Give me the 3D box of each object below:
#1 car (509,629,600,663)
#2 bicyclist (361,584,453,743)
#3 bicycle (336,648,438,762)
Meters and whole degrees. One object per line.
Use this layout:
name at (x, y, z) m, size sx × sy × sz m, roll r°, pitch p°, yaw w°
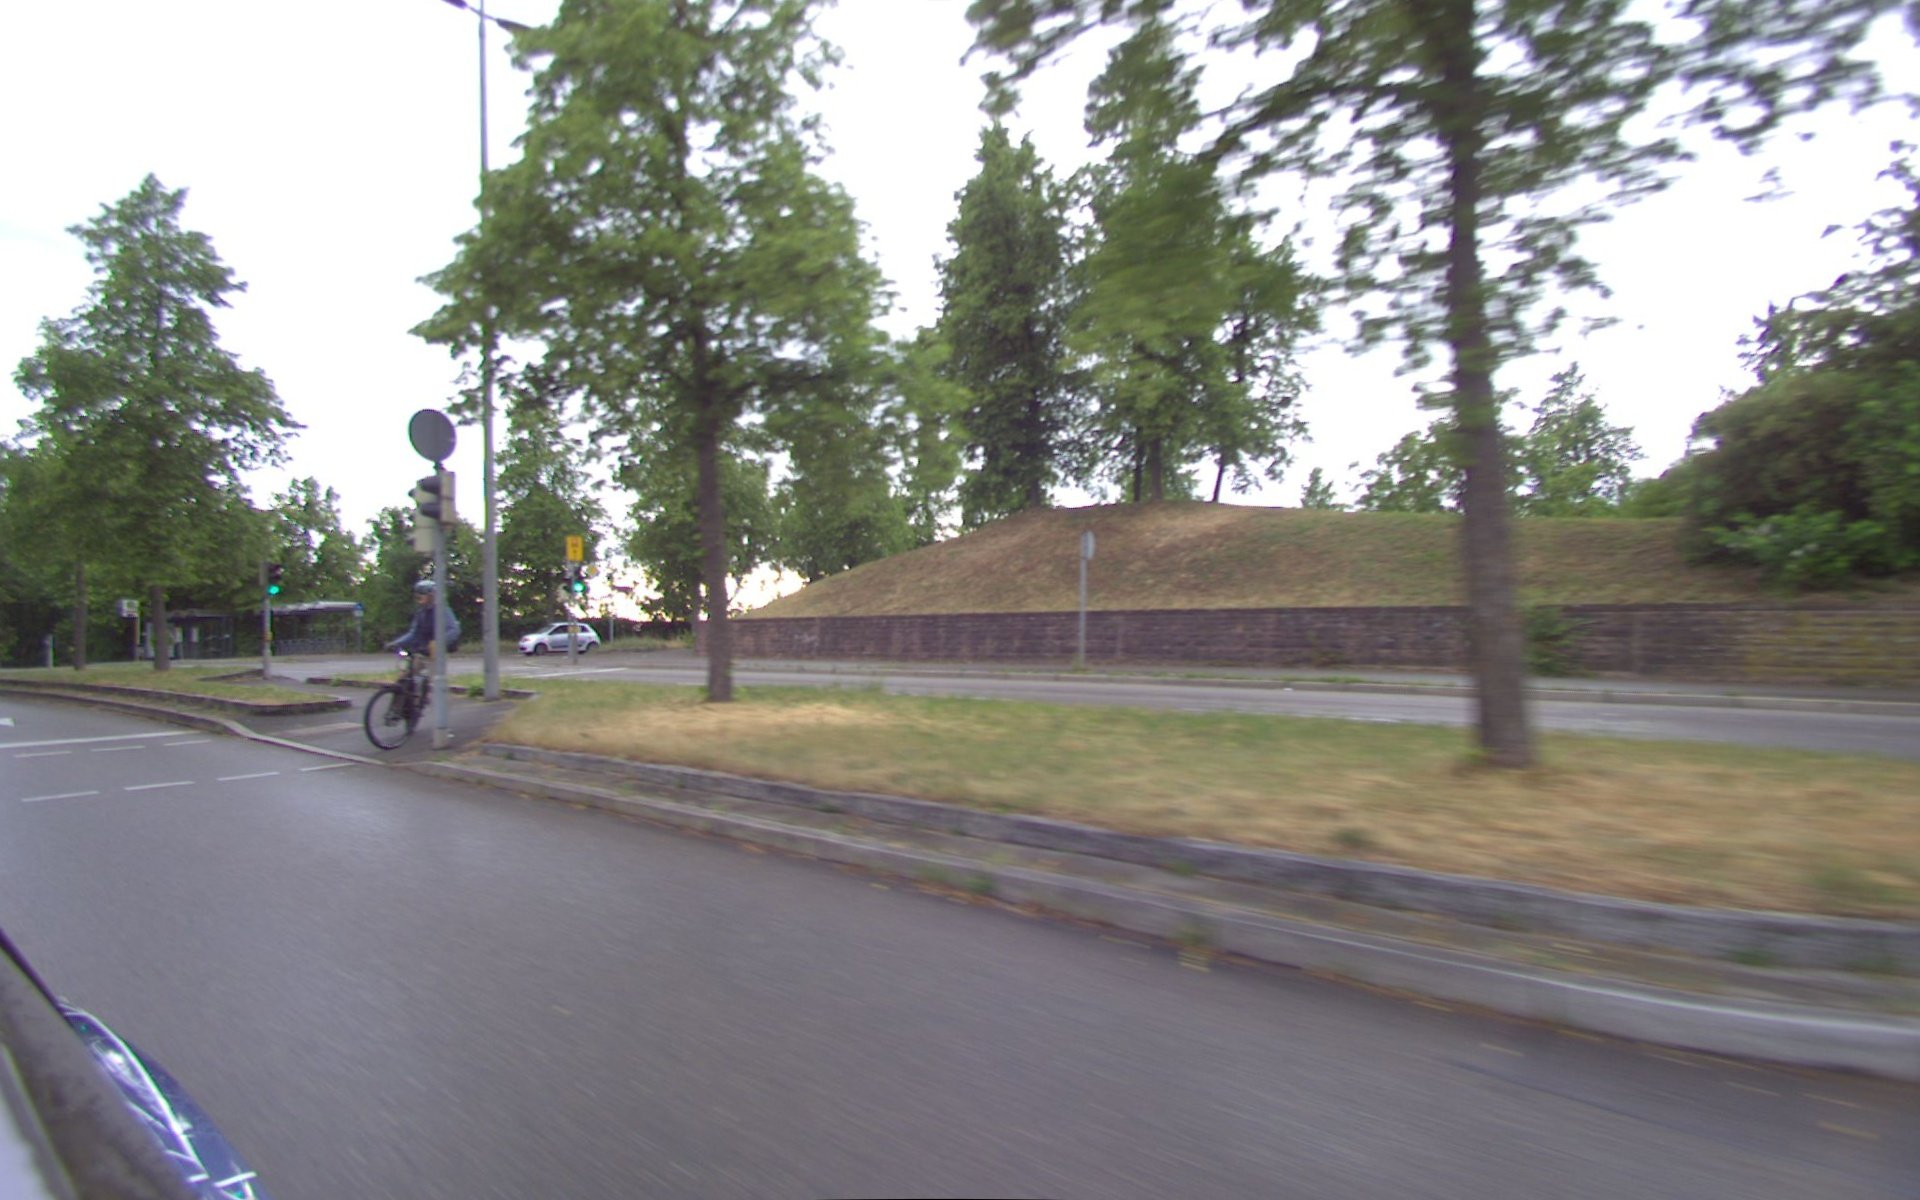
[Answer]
car at (-19.223, 2.146, 47.999) m, size 3.639 × 1.489 × 1.765 m, roll 0°, pitch -1°, yaw -39°
bicyclist at (-6.382, 0.723, 11.721) m, size 0.713 × 1.765 × 0.804 m, roll 2°, pitch -1°, yaw -15°
bicycle at (-6.685, 1.171, 11.907) m, size 0.544 × 1.151 × 2.146 m, roll -1°, pitch -1°, yaw -16°
